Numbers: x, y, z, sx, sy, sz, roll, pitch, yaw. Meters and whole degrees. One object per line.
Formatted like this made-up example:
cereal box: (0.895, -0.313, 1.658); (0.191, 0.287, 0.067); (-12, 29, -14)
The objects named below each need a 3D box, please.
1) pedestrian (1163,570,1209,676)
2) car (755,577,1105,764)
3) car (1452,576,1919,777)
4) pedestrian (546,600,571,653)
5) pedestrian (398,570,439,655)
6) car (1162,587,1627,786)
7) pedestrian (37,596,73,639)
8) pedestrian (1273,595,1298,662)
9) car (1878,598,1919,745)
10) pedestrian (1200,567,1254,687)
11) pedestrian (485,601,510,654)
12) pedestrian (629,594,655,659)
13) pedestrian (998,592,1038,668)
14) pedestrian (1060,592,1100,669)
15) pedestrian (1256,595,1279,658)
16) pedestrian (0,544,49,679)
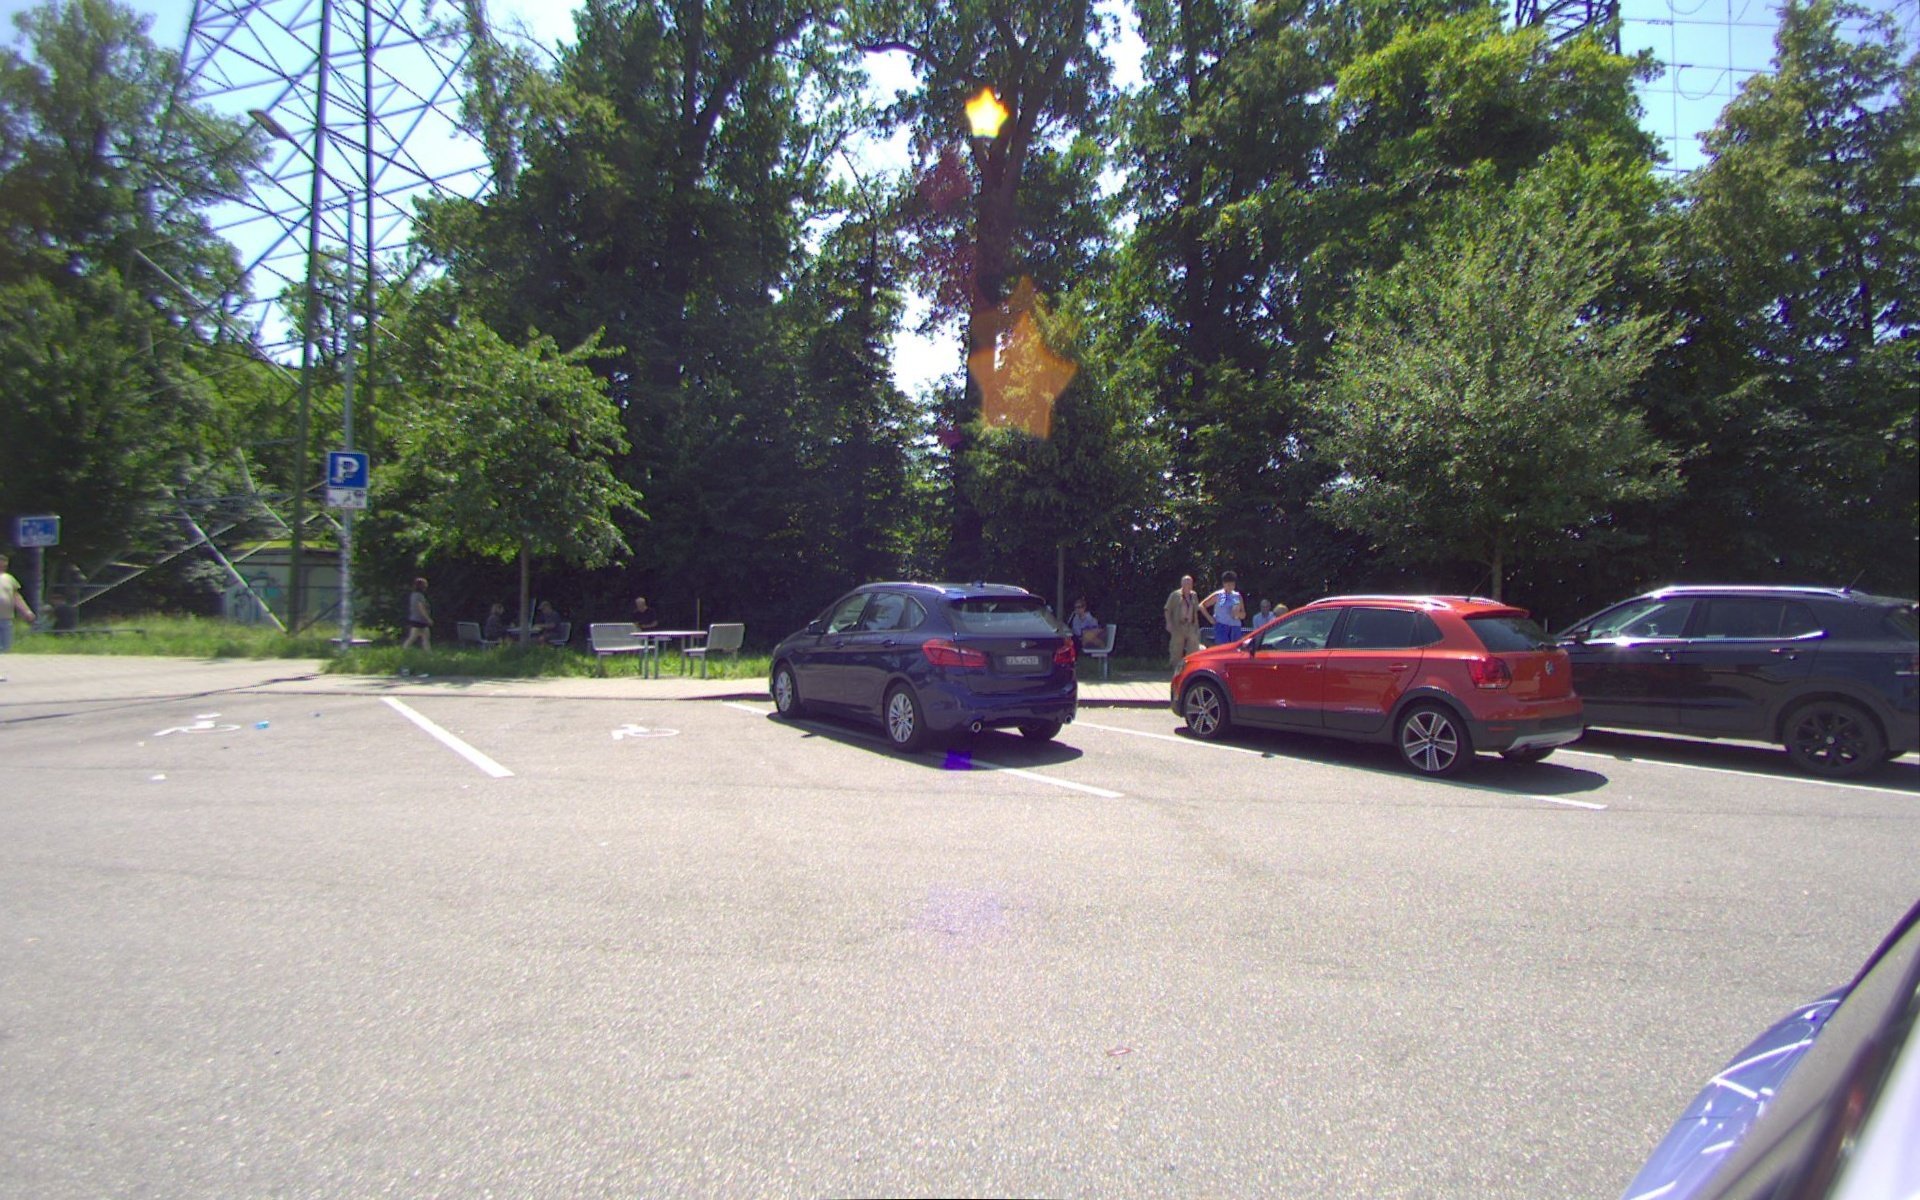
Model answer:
pedestrian: (3.501, 0.347, 15.726); (0.636, 1.625, 0.571); (0, 0, 7)
car: (-0.549, 0.549, 10.774); (1.714, 1.572, 4.347); (0, 1, -33)
car: (7.088, 0.589, 9.850); (1.620, 1.575, 3.826); (0, 0, -37)
pedestrian: (-9.353, 0.616, 23.585); (0.452, 1.209, 0.447); (0, 0, -34)
pedestrian: (-10.880, 0.231, 20.346); (0.700, 1.670, 0.688); (0, 0, -27)
car: (3.872, 0.632, 9.634); (1.619, 1.487, 3.830); (0, 0, -33)
pedestrian: (-20.960, 0.400, 23.444); (0.452, 0.987, 0.447); (0, 0, -2)
pedestrian: (5.762, 0.503, 17.935); (0.350, 1.180, 0.384); (0, 0, 8)
car: (10.888, 0.699, 8.995); (1.620, 1.420, 3.826); (0, 0, -37)
pedestrian: (3.683, 0.362, 14.002); (0.636, 1.625, 0.571); (0, 0, 7)
pedestrian: (-10.442, 0.615, 22.844); (0.452, 1.182, 0.447); (0, 0, -34)
pedestrian: (-6.694, 0.547, 21.332); (0.438, 1.363, 0.462); (0, 0, -5)
pedestrian: (0.981, 0.495, 17.098); (0.586, 1.261, 0.445); (0, 0, 16)
pedestrian: (1.995, 0.493, 16.842); (0.586, 1.261, 0.498); (0, 0, 16)
pedestrian: (5.811, 0.491, 19.111); (0.350, 1.180, 0.384); (0, 0, 8)
pedestrian: (-14.108, 0.165, 14.760); (0.904, 1.929, 0.813); (0, 0, 3)
